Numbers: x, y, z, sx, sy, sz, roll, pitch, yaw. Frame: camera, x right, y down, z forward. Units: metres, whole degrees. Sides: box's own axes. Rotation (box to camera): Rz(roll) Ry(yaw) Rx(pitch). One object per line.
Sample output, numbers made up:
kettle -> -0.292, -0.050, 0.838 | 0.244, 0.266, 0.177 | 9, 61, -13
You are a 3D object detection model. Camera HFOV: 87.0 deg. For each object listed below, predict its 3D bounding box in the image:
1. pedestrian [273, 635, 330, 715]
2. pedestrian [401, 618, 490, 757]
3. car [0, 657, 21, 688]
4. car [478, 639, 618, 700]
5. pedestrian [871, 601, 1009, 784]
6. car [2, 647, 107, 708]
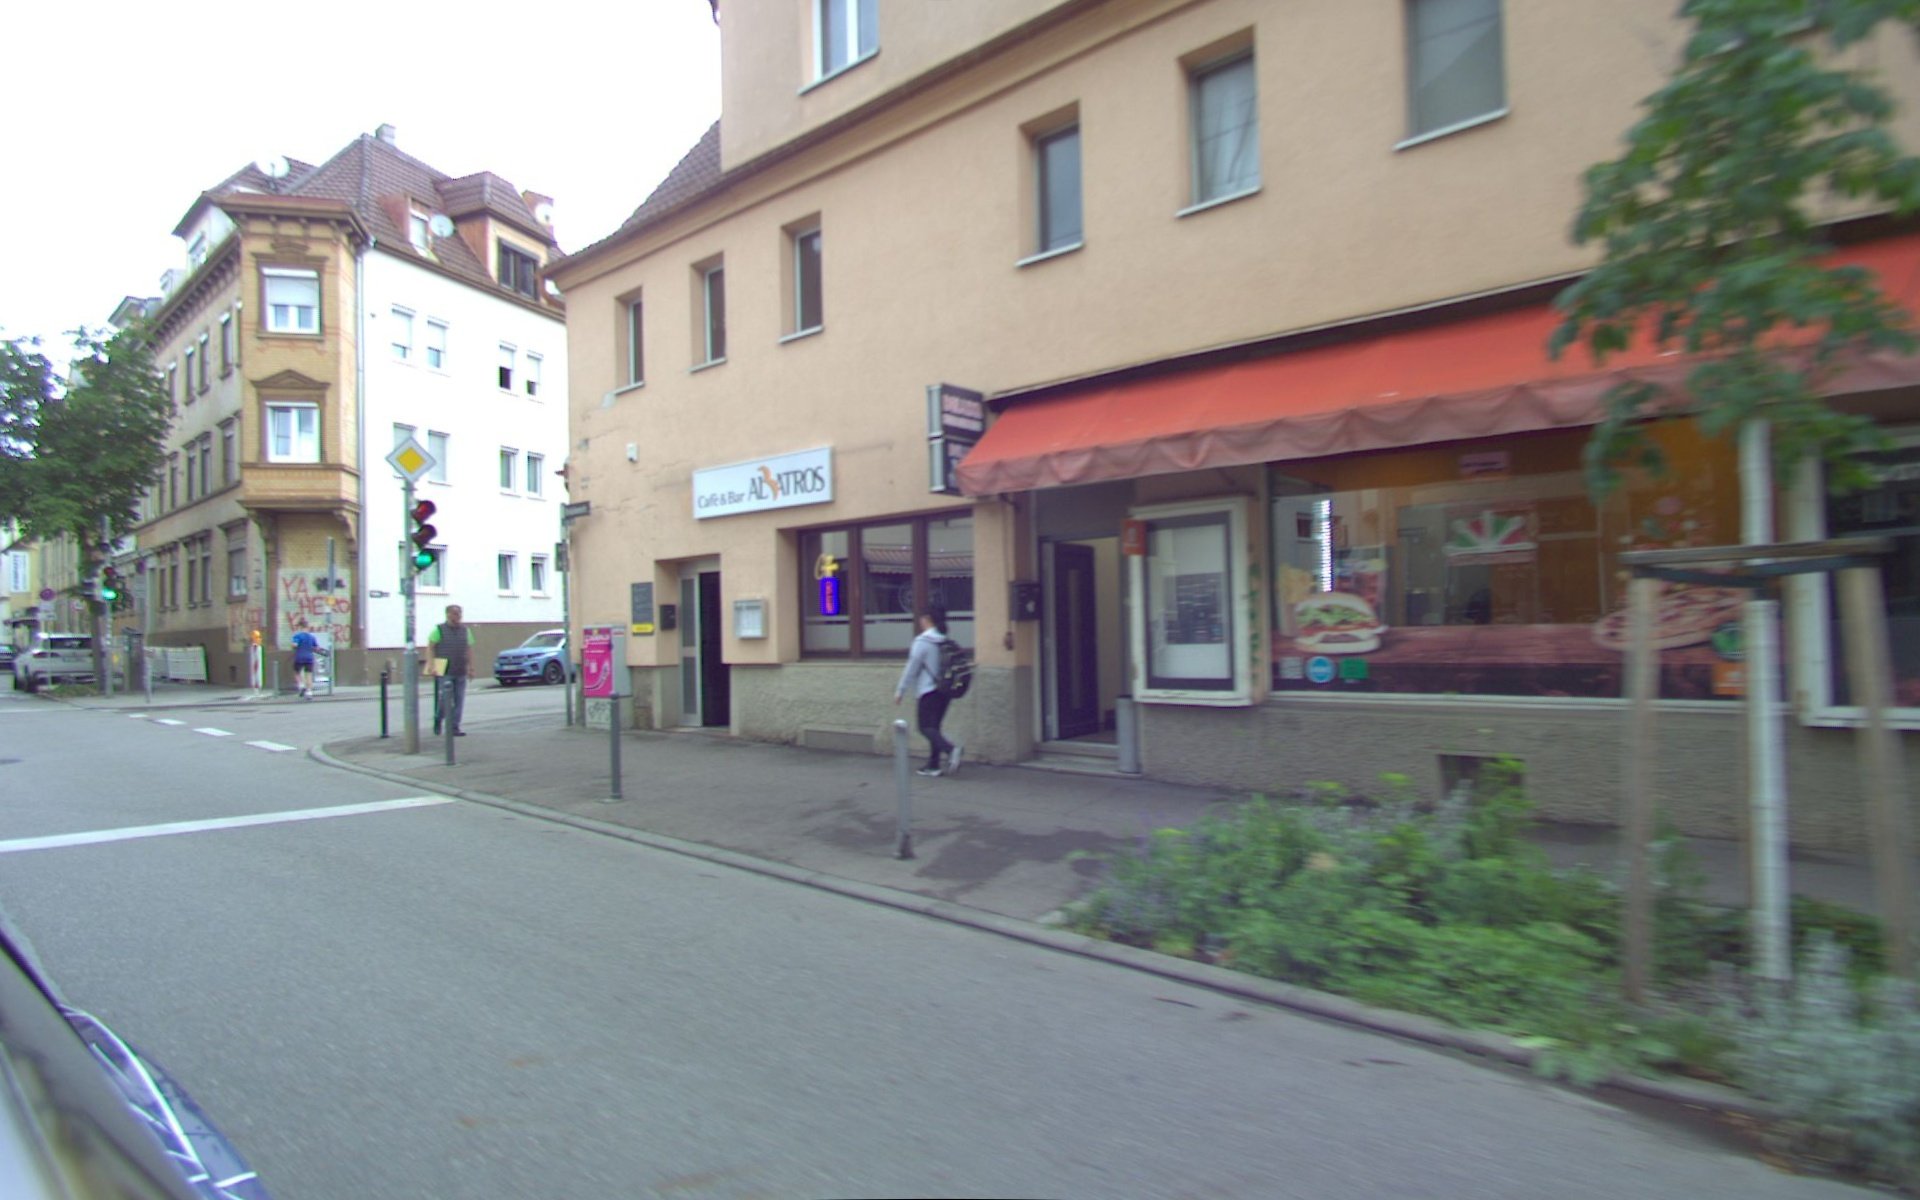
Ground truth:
pedestrian -> -14.838, 1.669, 22.813 | 1.155, 1.731, 0.731 | -3, -1, 39
pedestrian -> -6.929, 1.144, 13.633 | 0.982, 1.767, 0.731 | -3, -2, 41
car -> -45.810, 3.435, 47.971 | 4.354, 1.393, 1.561 | -3, -3, 43
car -> -11.874, 1.970, 29.411 | 1.762, 1.563, 3.698 | -2, -2, 20
pedestrian -> -0.187, 0.807, 9.217 | 0.982, 1.546, 0.731 | -3, -1, 39
car -> -27.848, 2.335, 31.088 | 4.740, 1.725, 1.871 | -3, -4, 42
